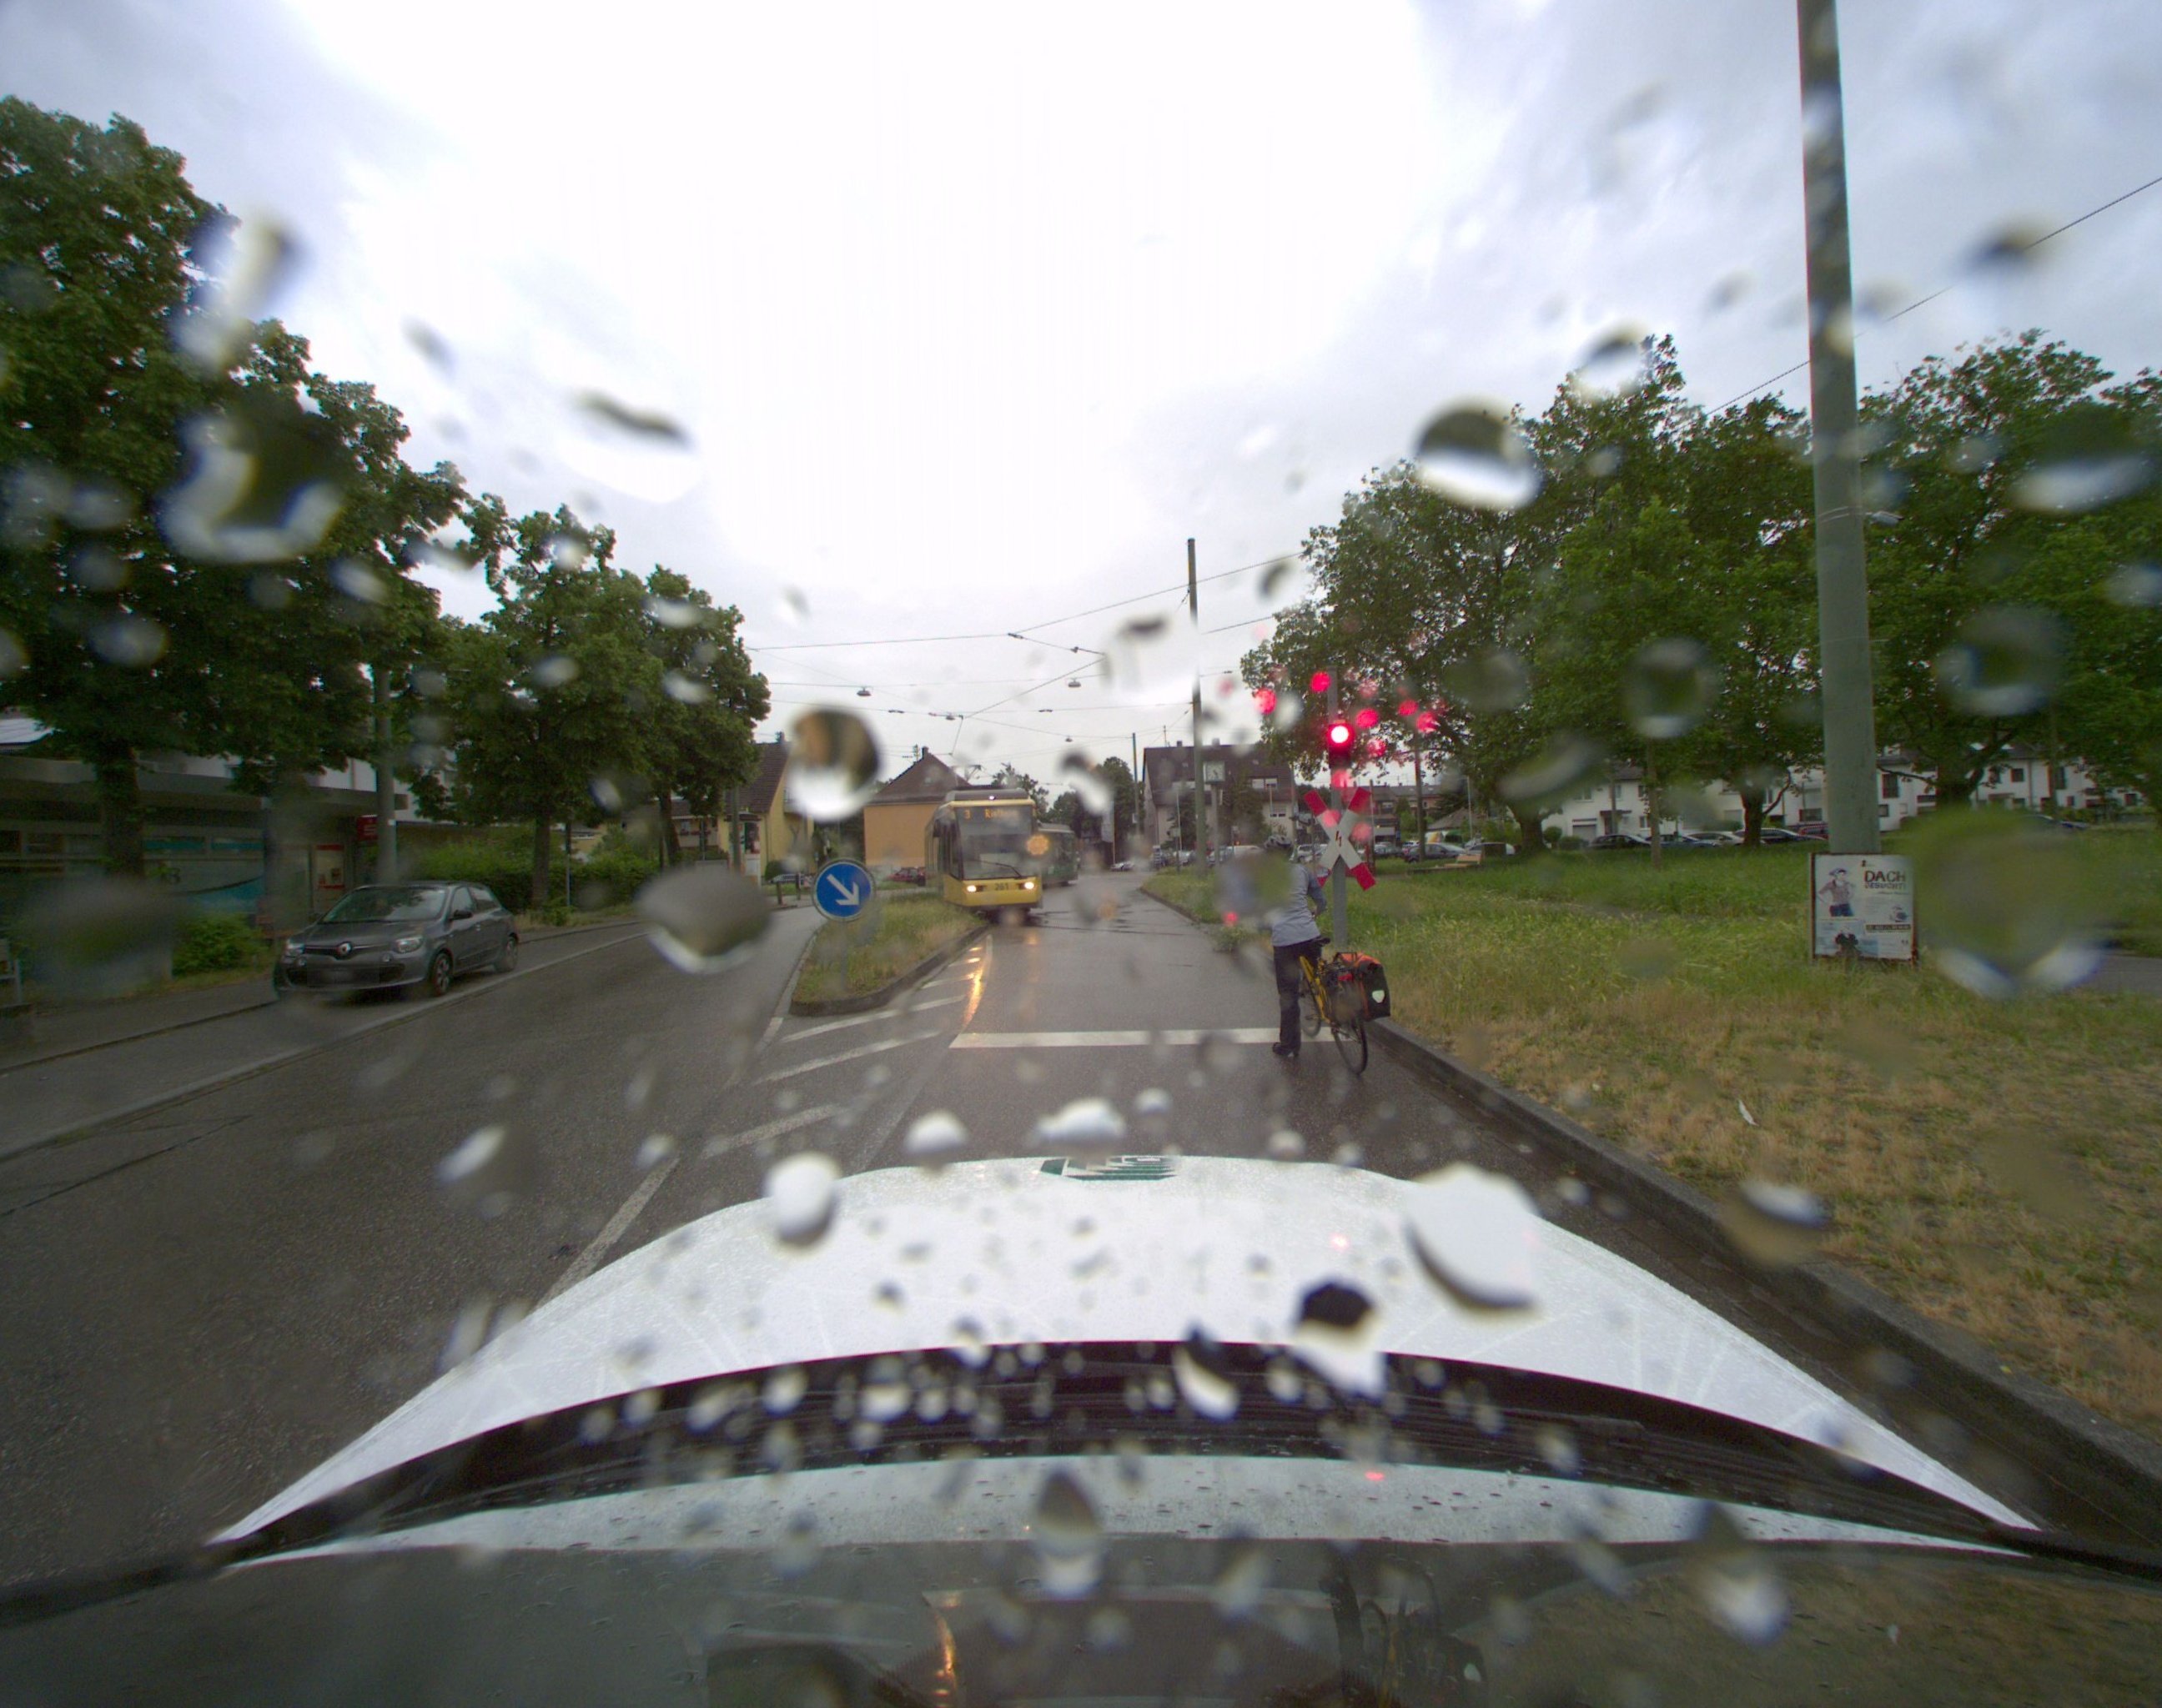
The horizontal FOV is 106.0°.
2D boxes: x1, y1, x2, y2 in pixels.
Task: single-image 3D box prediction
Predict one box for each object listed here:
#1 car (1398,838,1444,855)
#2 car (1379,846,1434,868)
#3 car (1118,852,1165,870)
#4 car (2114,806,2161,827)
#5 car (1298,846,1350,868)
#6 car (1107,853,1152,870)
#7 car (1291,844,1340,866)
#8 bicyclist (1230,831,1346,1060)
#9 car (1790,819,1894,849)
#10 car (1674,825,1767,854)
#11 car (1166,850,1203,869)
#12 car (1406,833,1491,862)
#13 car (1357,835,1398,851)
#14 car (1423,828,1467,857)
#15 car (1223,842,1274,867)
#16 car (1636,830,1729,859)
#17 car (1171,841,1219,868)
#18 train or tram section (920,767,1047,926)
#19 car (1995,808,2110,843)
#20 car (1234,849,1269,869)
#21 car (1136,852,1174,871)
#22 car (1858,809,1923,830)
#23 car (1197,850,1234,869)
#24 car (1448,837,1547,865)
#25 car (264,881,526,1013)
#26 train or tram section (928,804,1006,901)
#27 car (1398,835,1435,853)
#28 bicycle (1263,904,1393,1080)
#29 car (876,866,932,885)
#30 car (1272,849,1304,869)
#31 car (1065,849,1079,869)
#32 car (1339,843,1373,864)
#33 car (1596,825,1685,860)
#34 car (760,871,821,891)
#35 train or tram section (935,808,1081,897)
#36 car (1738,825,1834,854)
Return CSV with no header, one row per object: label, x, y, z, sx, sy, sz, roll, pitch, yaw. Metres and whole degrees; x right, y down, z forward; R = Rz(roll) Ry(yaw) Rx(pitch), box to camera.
car,35.426,-0.778,84.947,3.971,1.640,1.847,0,-1,2
car,25.896,0.208,64.954,3.670,1.701,1.891,0,-1,2
car,5.715,0.685,76.898,4.015,1.675,1.979,0,-1,-34
car,89.728,-3.157,68.330,3.670,1.660,1.891,0,-1,2
car,19.315,0.254,64.810,3.670,1.701,1.891,0,-1,2
car,4.745,0.755,79.991,4.015,1.643,1.979,0,-1,-34
car,21.812,0.083,75.929,3.974,1.951,1.999,0,-1,-1
bicyclist,1.554,0.654,6.234,0.665,1.626,0.853,0,-1,1
car,42.628,-1.087,45.683,1.814,1.495,3.881,0,-1,-27
car,35.707,-0.753,45.521,1.821,1.495,3.867,0,-1,-44
car,9.097,0.505,71.478,1.975,1.640,4.024,-1,-1,27
car,20.173,-0.323,44.817,1.821,1.495,3.867,0,-1,-44
car,33.145,-1.233,91.037,3.968,1.791,2.003,0,-1,4
car,32.576,-0.970,72.994,1.987,2.443,4.354,0,-1,1
car,15.630,0.072,76.041,4.381,2.325,2.000,0,-1,-1
car,33.203,-0.495,44.991,1.821,1.495,3.867,0,-1,-44
car,11.182,0.019,79.718,4.362,2.566,2.008,-1,-1,16
train or tram section,-3.226,-0.138,24.739,2.760,3.553,12.163,-2,0,-10
car,54.635,-1.575,45.859,1.815,1.765,3.879,0,-1,-29
car,14.744,0.454,70.392,1.975,1.640,4.024,-1,-1,27
car,6.652,0.646,72.782,1.975,1.640,4.024,-1,-1,27
car,69.999,-2.996,70.453,3.670,1.660,1.891,0,-1,2
car,11.629,0.475,70.247,1.975,1.640,4.024,-1,-1,27
car,20.505,-0.130,40.249,3.964,1.285,1.851,0,-1,9
car,-9.685,1.195,11.880,1.621,1.496,3.645,0,-1,-18
train or tram section,-4.547,-0.031,32.968,2.758,3.553,4.975,-2,-1,-7
car,39.124,-1.097,95.039,1.998,2.014,3.978,0,-1,-16
bicycle,1.794,0.948,6.140,0.444,1.004,1.728,-2,0,1
car,-13.660,1.656,63.074,3.979,1.456,1.831,0,-1,-5
car,17.978,0.434,70.705,1.823,1.640,4.024,-1,-1,27
car,-1.130,0.667,108.279,1.799,2.627,3.999,0,-1,0
car,24.196,0.004,71.851,1.983,1.791,4.006,0,-1,6
car,30.541,-0.611,44.533,1.821,1.798,3.721,0,-1,-44
car,-22.106,2.035,62.029,3.979,1.456,1.831,0,-1,-5
train or tram section,-3.030,-0.045,39.935,2.740,3.553,13.184,-3,-1,14
car,39.265,-0.780,45.409,1.821,1.495,3.867,0,-1,-44
